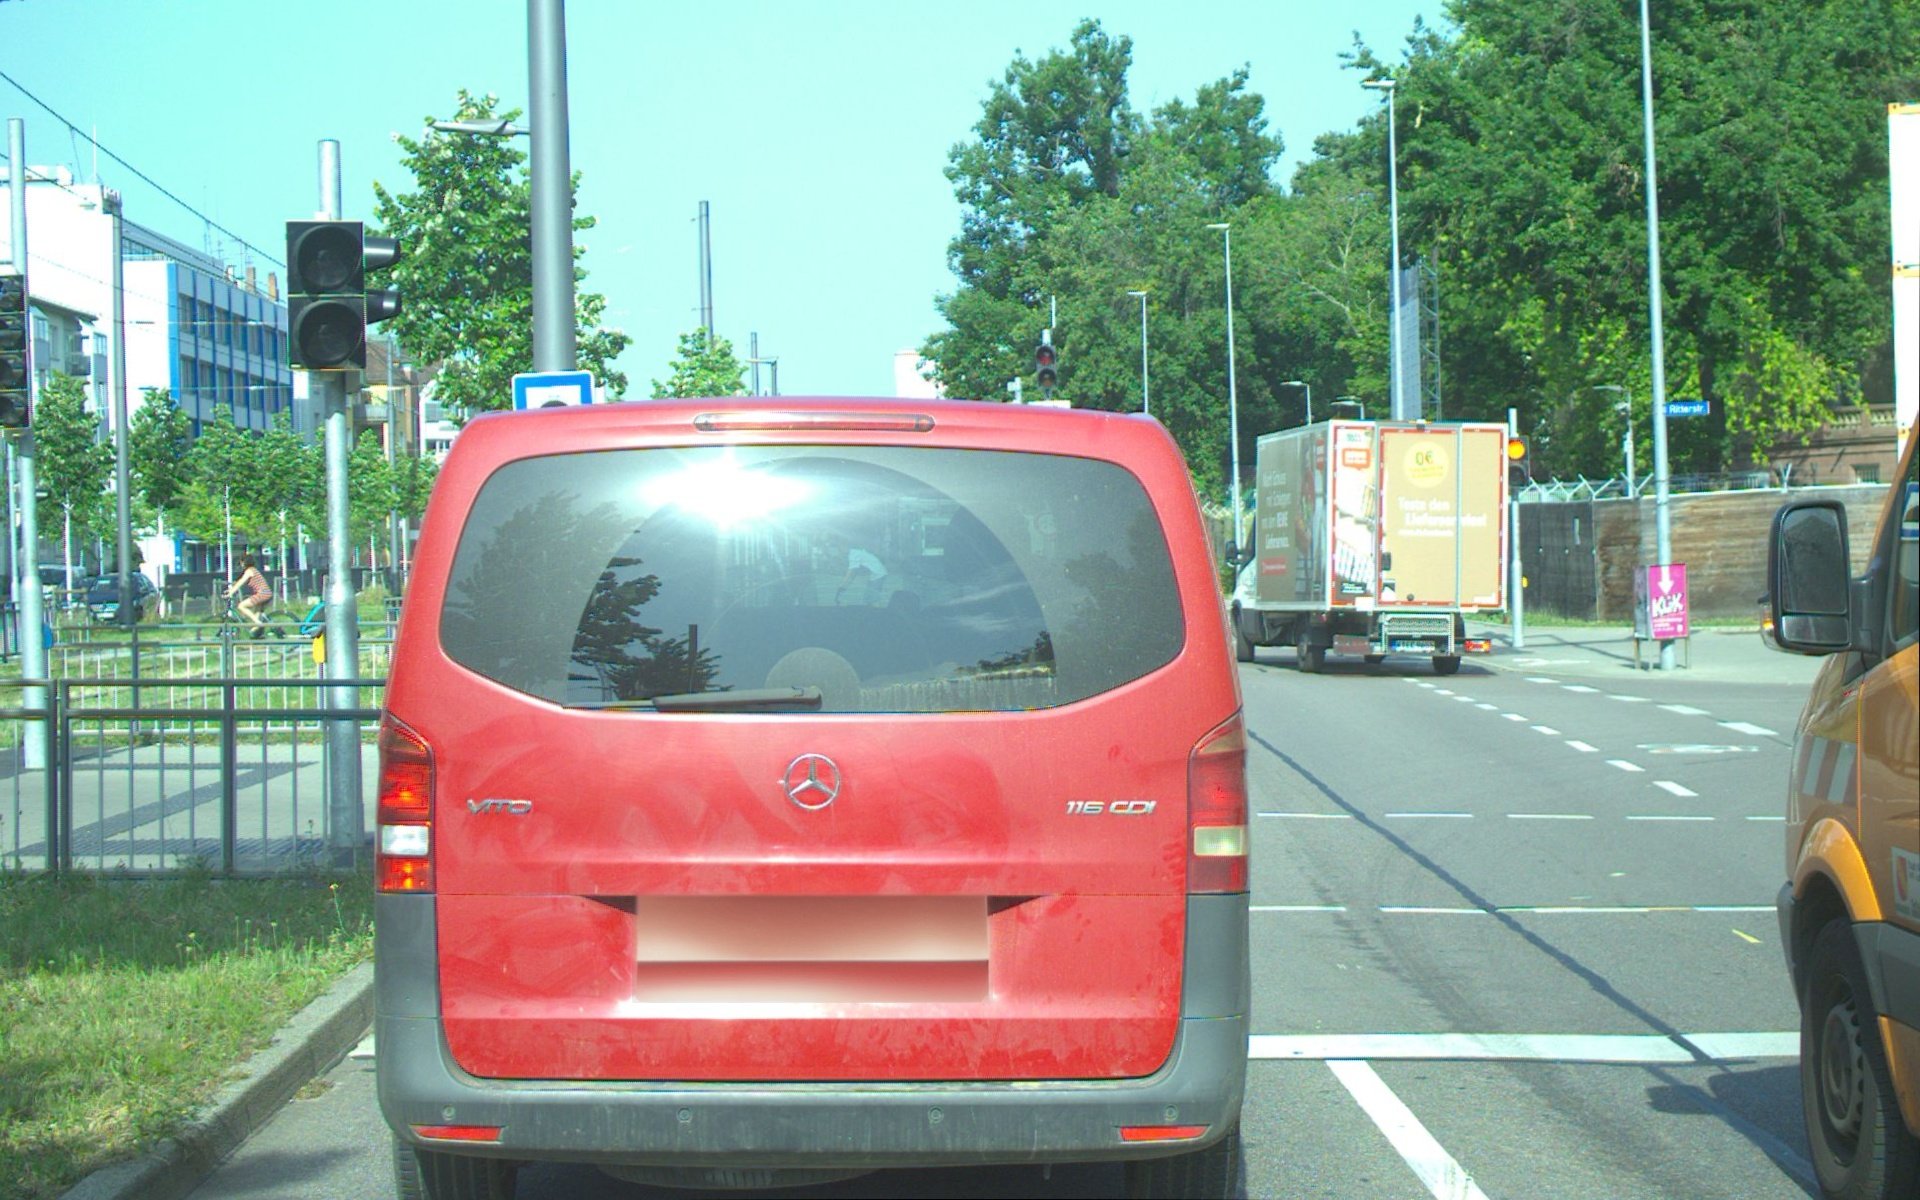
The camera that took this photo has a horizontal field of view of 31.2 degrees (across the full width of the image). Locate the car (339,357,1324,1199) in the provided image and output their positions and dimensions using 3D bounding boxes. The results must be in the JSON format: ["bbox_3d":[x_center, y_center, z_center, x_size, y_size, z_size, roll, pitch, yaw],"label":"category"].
[{"bbox_3d":[-0.302,0.433,8.687,1.901,1.853,4.000,0,1,-2],"label":"car"}]

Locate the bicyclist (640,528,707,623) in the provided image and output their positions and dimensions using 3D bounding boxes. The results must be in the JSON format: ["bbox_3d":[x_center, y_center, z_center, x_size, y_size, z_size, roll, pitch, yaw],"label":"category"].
[{"bbox_3d":[-4.388,-0.379,52.613,0.686,1.435,0.805,1,0,27],"label":"bicyclist"}]

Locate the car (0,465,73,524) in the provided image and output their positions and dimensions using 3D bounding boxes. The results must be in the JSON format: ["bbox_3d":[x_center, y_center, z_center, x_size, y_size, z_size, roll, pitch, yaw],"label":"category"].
[{"bbox_3d":[-35.698,-4.043,131.866,2.249,2.007,5.263,1,-1,-3],"label":"car"}]

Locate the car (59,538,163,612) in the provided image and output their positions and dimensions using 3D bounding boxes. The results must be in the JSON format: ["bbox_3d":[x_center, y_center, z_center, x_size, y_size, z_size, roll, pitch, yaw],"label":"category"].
[{"bbox_3d":[-24.753,-0.728,100.367,1.993,2.007,4.000,-3,0,-1],"label":"car"}]

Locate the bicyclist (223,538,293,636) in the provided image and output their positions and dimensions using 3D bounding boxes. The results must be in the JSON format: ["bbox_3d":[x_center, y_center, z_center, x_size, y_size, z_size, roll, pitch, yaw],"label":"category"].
[{"bbox_3d":[-11.897,-0.223,58.317,0.890,1.623,0.892,-1,1,7],"label":"bicyclist"}]

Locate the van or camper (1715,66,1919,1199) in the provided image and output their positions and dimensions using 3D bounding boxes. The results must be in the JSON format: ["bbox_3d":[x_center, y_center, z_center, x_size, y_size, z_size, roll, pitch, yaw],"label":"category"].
[{"bbox_3d":[2.946,0.161,5.667,1.986,2.463,6.061,0,0,-1],"label":"van or camper"}]

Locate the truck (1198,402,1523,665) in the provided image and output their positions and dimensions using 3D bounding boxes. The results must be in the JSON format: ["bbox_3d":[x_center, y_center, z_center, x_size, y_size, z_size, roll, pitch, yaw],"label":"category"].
[{"bbox_3d":[4.959,-0.803,44.100,2.501,3.050,7.821,1,0,-6],"label":"truck"}]

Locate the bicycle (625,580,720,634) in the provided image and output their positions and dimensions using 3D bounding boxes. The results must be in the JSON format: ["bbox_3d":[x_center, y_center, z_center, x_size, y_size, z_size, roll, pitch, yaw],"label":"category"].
[{"bbox_3d":[-4.392,0.105,52.613,0.719,0.795,1.601,1,0,27],"label":"bicycle"}]

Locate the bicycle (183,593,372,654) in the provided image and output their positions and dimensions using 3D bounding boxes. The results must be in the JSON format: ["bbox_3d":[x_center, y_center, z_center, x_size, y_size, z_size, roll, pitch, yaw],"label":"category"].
[{"bbox_3d":[-11.562,0.394,58.300,2.988,0.962,0.900,-1,1,6],"label":"bicycle"}]
